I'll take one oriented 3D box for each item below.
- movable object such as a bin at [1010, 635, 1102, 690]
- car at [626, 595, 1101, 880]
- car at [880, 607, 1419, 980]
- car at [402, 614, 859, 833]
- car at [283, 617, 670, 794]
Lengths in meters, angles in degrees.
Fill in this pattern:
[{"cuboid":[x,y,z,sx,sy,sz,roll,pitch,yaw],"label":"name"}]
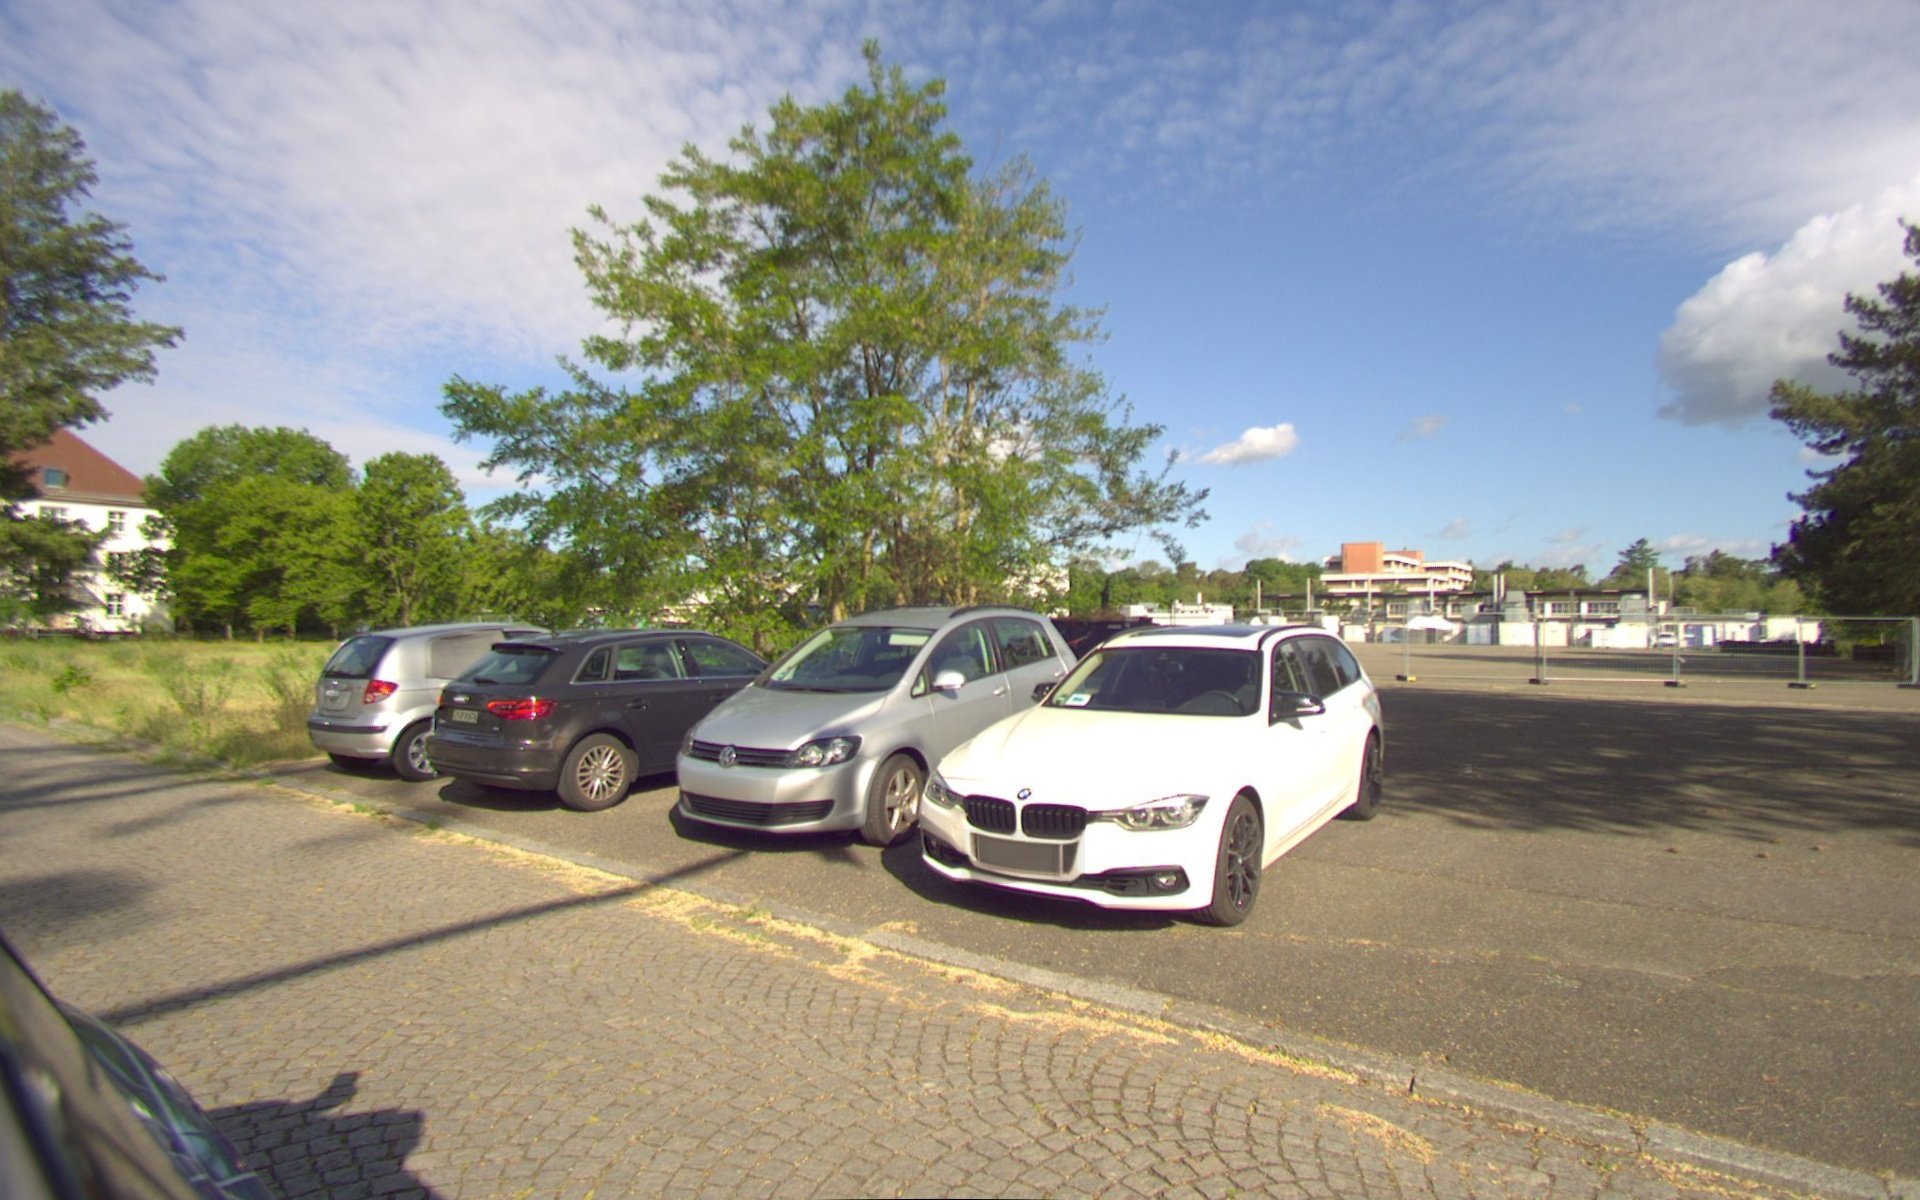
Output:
[{"cuboid":[2.125,1.327,22.062,0.996,1.116,2.258,-1,-2,36],"label":"movable object such as a bin"},{"cuboid":[-0.498,0.823,8.113,1.717,1.638,3.912,-1,0,33],"label":"car"},{"cuboid":[1.596,0.850,6.628,1.748,1.478,4.502,-2,0,35],"label":"car"},{"cuboid":[-2.847,0.935,9.433,1.685,1.482,3.762,-1,1,37],"label":"car"},{"cuboid":[-5.076,0.986,11.003,1.633,1.482,3.435,-1,1,35],"label":"car"}]
